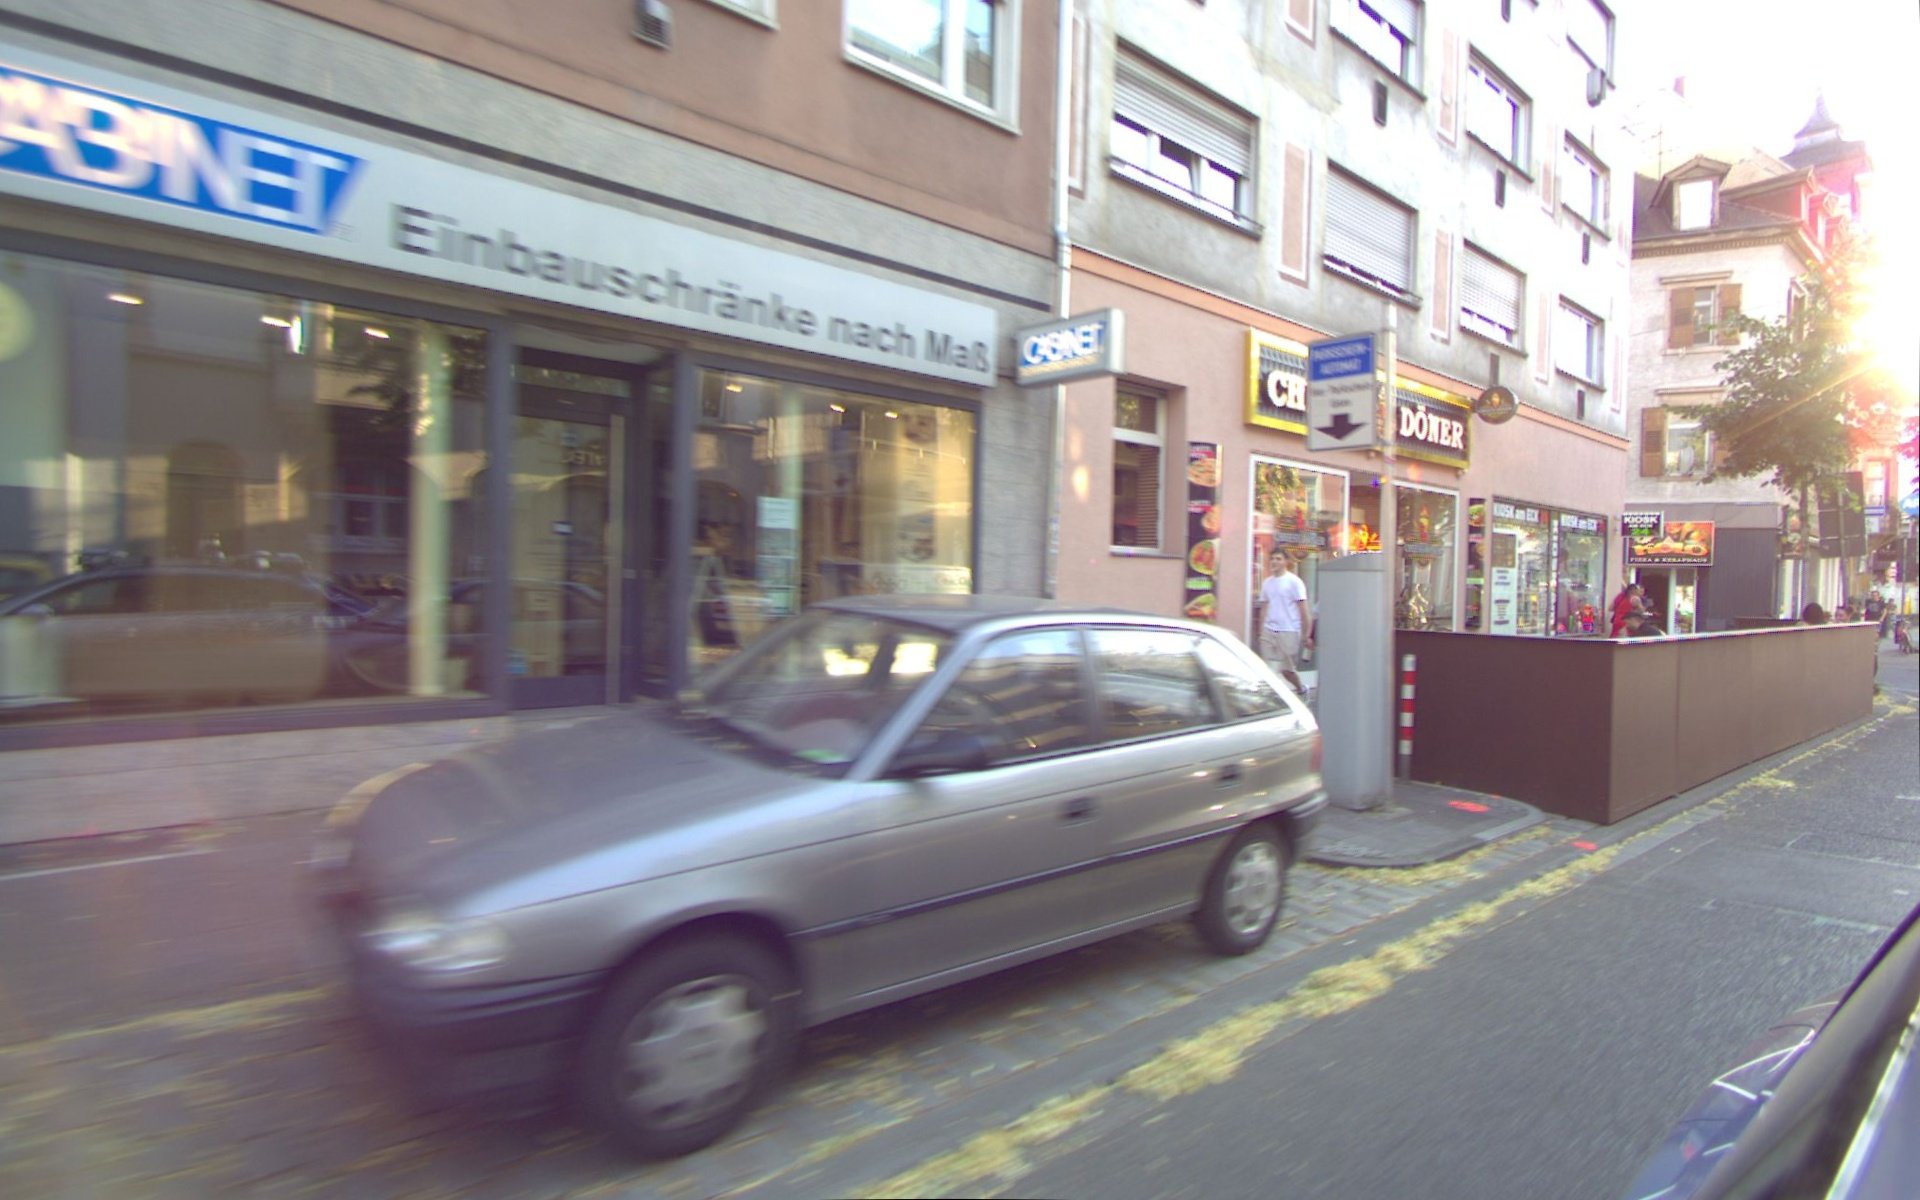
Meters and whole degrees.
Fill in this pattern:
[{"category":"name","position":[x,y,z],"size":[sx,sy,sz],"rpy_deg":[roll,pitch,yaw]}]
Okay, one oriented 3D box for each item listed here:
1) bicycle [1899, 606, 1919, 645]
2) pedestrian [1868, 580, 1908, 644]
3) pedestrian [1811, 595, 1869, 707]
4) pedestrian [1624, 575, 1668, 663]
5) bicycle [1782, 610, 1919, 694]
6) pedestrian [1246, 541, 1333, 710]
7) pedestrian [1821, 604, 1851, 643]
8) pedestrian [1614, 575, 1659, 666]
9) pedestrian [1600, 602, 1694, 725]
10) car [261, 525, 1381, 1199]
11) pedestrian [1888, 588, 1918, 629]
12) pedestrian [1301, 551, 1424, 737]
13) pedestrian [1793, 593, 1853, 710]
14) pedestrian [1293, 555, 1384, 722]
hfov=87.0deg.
[{"category":"bicycle","position":[28.429,0.743,29.938],"size":[2.021,1.122,0.479],"rpy_deg":[0,1,-34]},{"category":"pedestrian","position":[28.452,0.350,31.021],"size":[0.743,1.898,0.719],"rpy_deg":[0,3,-40]},{"category":"pedestrian","position":[12.275,0.692,14.115],"size":[0.553,1.498,0.448],"rpy_deg":[0,3,-40]},{"category":"pedestrian","position":[13.284,0.355,19.590],"size":[0.563,1.644,0.493],"rpy_deg":[0,3,-40]},{"category":"bicycle","position":[14.771,0.817,16.765],"size":[0.469,1.230,2.063],"rpy_deg":[1,1,-4]},{"category":"pedestrian","position":[3.566,0.254,10.955],"size":[0.657,1.760,0.607],"rpy_deg":[0,1,-41]},{"category":"pedestrian","position":[26.535,0.707,30.659],"size":[0.636,1.149,0.551],"rpy_deg":[0,3,-40]},{"category":"pedestrian","position":[12.633,0.370,18.898],"size":[0.563,1.644,0.493],"rpy_deg":[0,3,-40]},{"category":"pedestrian","position":[7.936,0.706,11.703],"size":[0.636,1.322,0.687],"rpy_deg":[0,3,-39]},{"category":"car","position":[-0.284,0.587,3.963],"size":[3.918,1.490,1.832],"rpy_deg":[0,5,-39]},{"category":"pedestrian","position":[38.093,0.325,40.894],"size":[0.743,1.594,0.719],"rpy_deg":[0,3,-40]},{"category":"pedestrian","position":[3.797,0.377,9.552],"size":[0.841,1.652,0.747],"rpy_deg":[0,1,-41]},{"category":"pedestrian","position":[11.553,0.669,13.546],"size":[0.538,1.498,0.448],"rpy_deg":[0,3,-40]},{"category":"pedestrian","position":[3.900,0.373,10.427],"size":[0.657,1.652,0.607],"rpy_deg":[0,1,-41]}]
